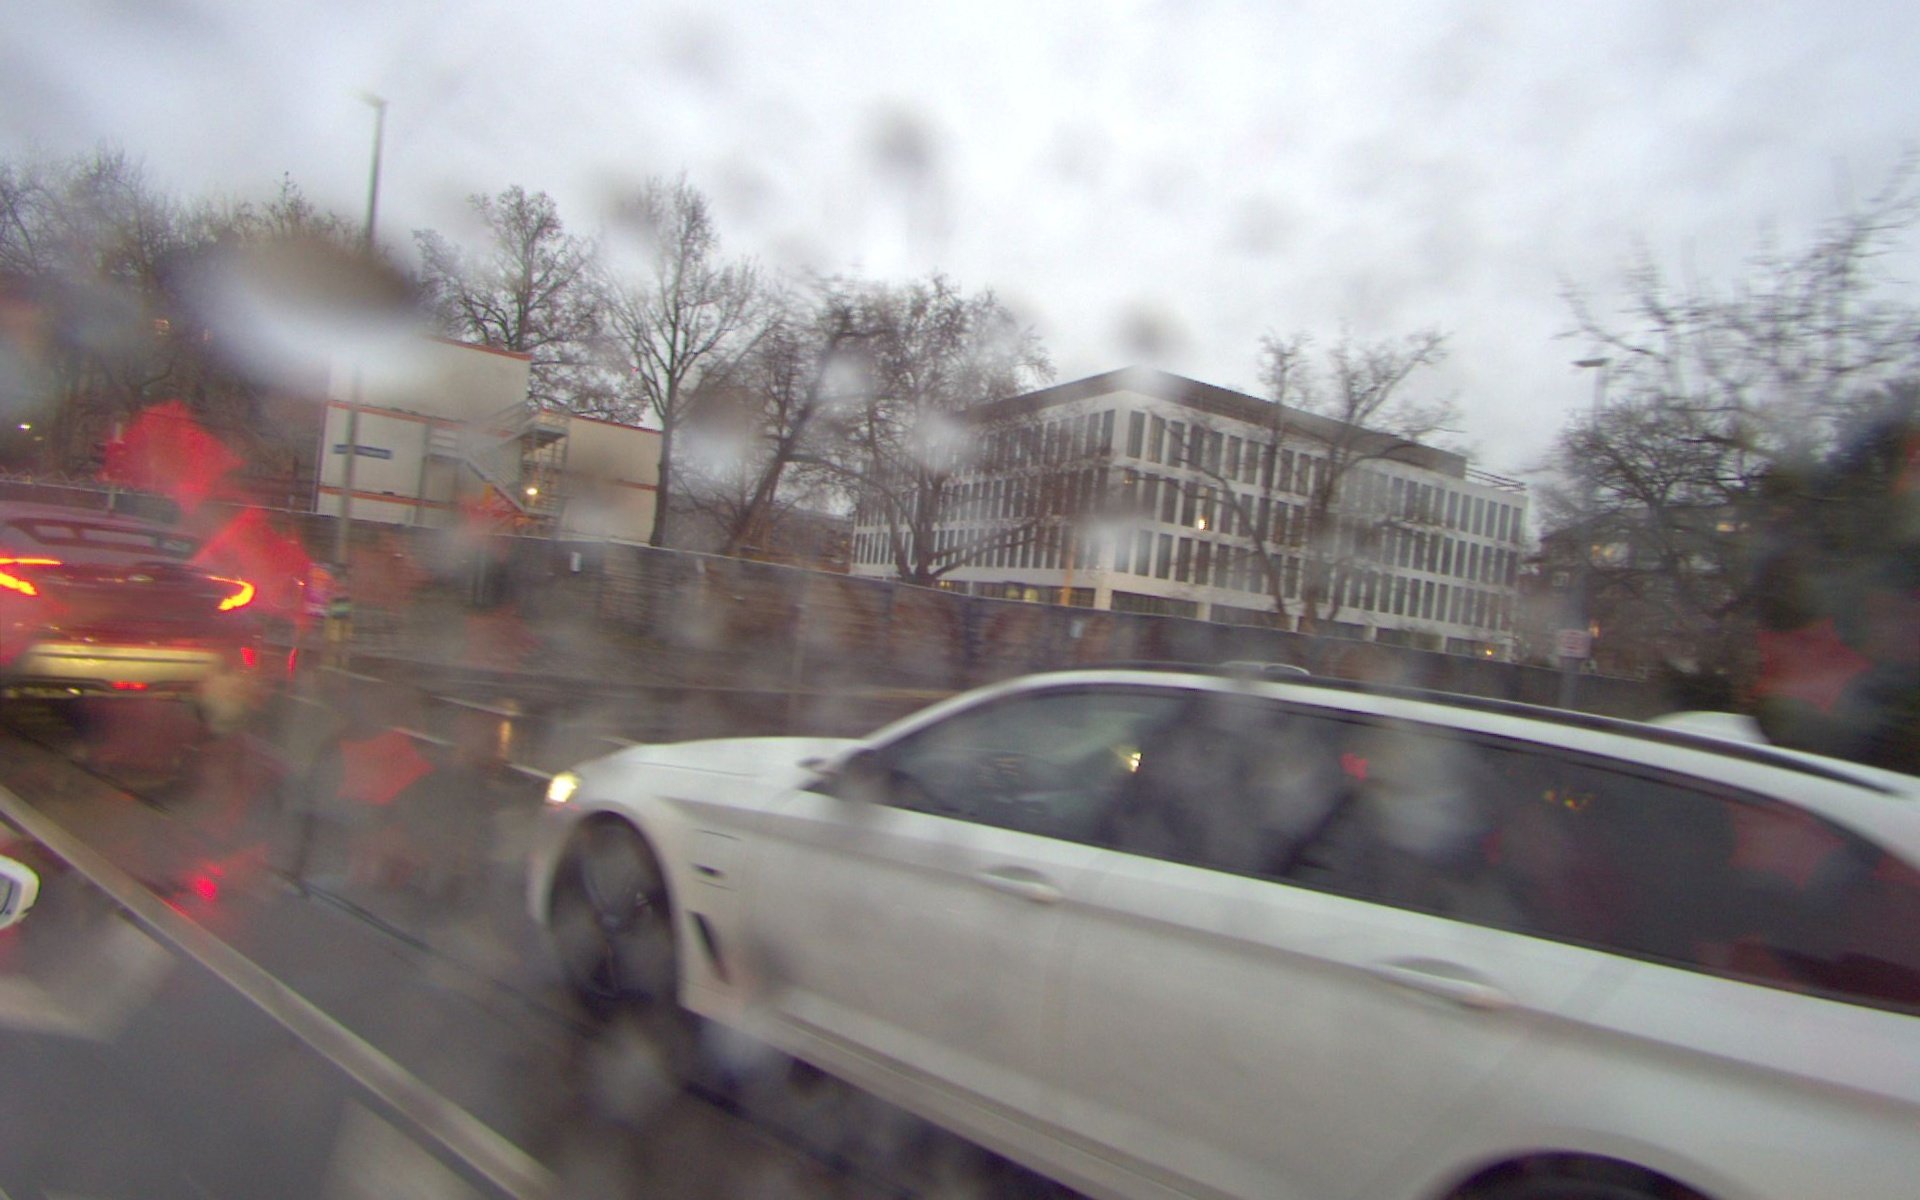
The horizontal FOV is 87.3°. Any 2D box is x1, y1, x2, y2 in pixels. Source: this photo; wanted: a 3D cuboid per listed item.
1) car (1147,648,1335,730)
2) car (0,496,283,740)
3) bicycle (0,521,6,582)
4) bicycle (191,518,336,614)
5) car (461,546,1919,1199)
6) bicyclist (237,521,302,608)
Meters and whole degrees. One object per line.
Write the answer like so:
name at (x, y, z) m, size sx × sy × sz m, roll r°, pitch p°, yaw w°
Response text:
car at (6.700, 2.130, 23.778) m, size 4.479 × 1.507 × 1.863 m, roll 7°, pitch -1°, yaw -37°
car at (-7.101, 0.052, 7.859) m, size 3.940 × 1.496 × 1.723 m, roll 5°, pitch -3°, yaw 38°
bicycle at (-19.838, -1.056, 20.154) m, size 1.994 × 1.200 × 0.412 m, roll 6°, pitch 1°, yaw 29°
bicycle at (-14.429, -0.679, 20.909) m, size 2.212 × 1.676 × 0.688 m, roll 7°, pitch -2°, yaw -14°
car at (0.625, 0.807, 3.247) m, size 4.890 × 1.519 × 1.788 m, roll 5°, pitch -2°, yaw 35°
bicyclist at (-14.368, -0.726, 20.954) m, size 0.805 × 1.699 × 0.695 m, roll 6°, pitch 0°, yaw -16°
